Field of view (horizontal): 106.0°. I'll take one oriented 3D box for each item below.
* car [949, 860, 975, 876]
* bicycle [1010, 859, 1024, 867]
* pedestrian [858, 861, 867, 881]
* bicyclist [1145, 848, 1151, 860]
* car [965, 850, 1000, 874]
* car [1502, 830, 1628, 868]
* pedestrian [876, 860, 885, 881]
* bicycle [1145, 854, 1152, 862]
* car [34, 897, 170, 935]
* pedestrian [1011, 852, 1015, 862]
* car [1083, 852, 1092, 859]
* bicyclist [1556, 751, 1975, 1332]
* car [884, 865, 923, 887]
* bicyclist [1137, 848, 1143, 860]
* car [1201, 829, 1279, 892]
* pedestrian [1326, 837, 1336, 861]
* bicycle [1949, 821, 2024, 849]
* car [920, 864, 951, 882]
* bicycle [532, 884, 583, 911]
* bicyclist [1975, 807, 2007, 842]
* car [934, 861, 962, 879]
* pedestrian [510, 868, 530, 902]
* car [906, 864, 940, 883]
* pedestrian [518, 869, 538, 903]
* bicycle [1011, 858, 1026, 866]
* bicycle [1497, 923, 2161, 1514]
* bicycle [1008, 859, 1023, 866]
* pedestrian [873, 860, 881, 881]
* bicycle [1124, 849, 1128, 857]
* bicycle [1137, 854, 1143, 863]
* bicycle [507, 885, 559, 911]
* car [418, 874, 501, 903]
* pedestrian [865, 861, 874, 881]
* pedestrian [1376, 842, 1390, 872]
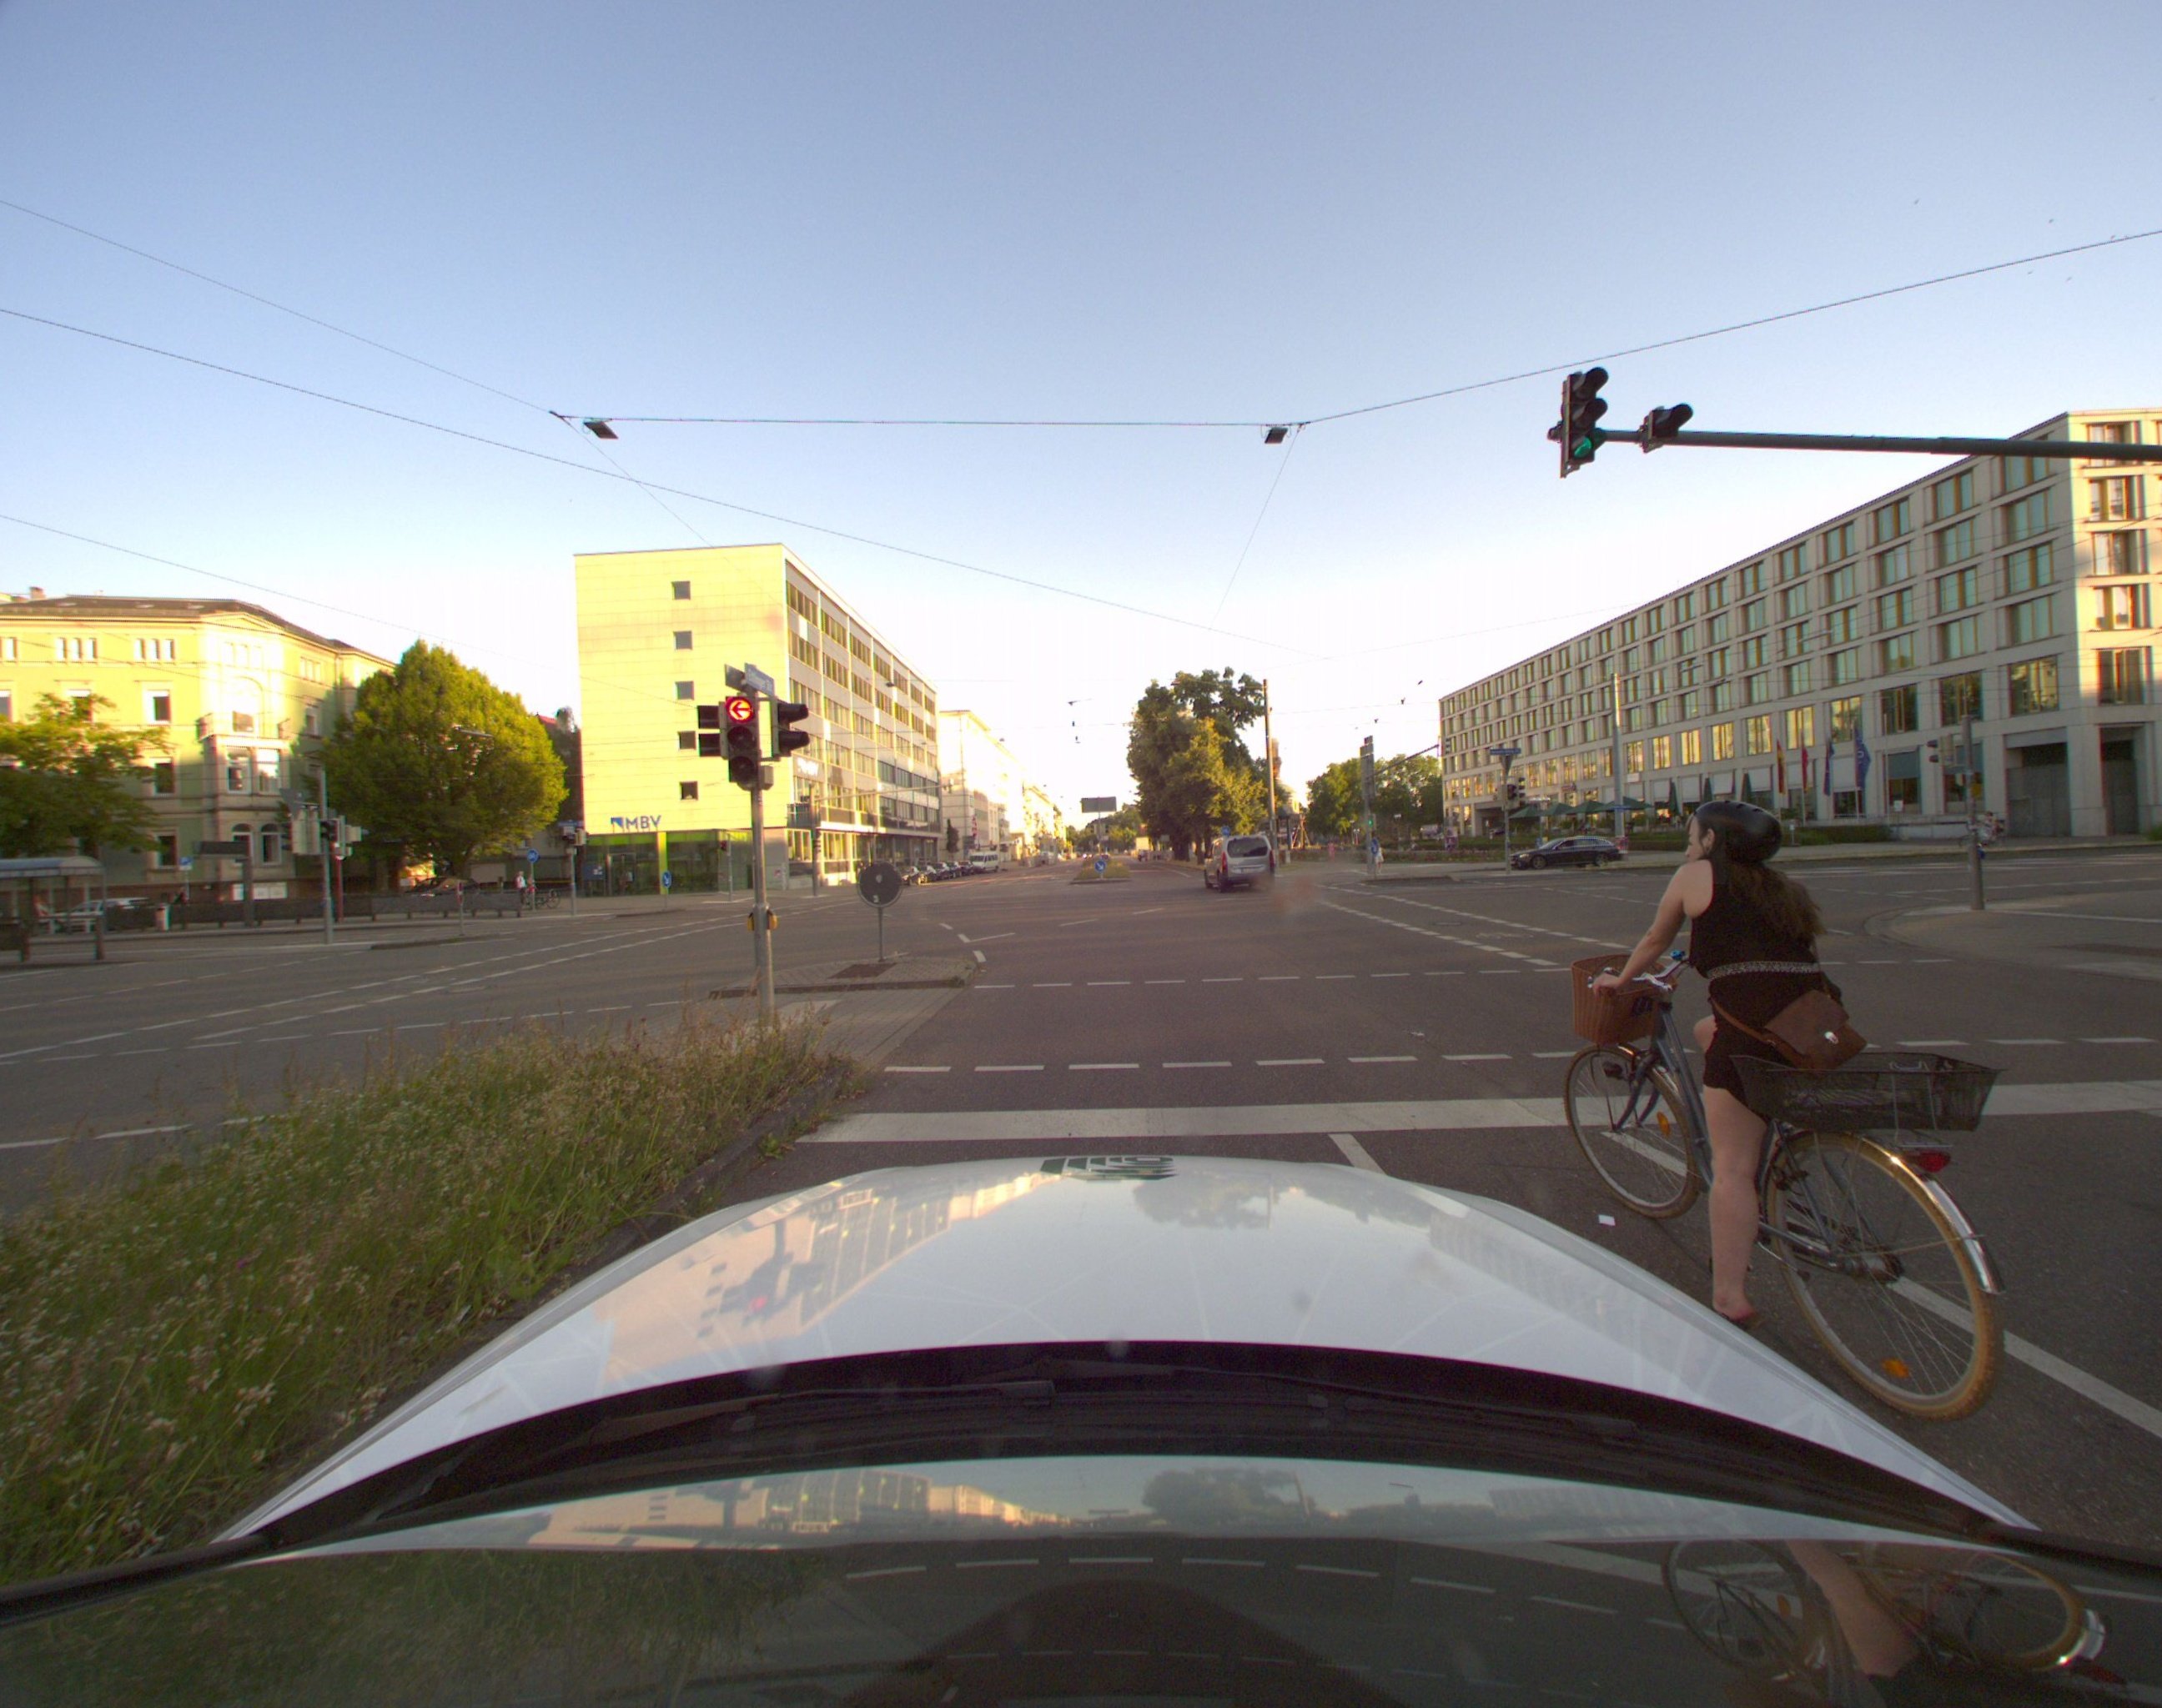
[{"bbox_3d":[-12.389,1.441,85.250,1.913,1.568,4.002,-3,0,2],"label":"car"},{"bbox_3d":[-10.008,1.350,127.498,2.198,1.112,0.689,-3,0,0],"label":"bicycle"},{"bbox_3d":[-18.400,1.447,68.514,0.549,1.679,0.500,-3,0,1],"label":"pedestrian"},{"bbox_3d":[9.305,0.020,112.552,0.744,1.691,0.799,-3,0,1],"label":"bicyclist"},{"bbox_3d":[-11.063,0.861,91.684,1.988,2.478,5.888,-3,0,12],"label":"car"},{"bbox_3d":[23.201,-0.232,39.214,4.803,1.515,2.002,-3,0,4],"label":"car"},{"bbox_3d":[-16.879,1.392,68.672,0.549,1.679,0.500,-3,0,1],"label":"pedestrian"},{"bbox_3d":[9.338,0.536,112.700,0.744,1.144,2.506,-3,0,2],"label":"bicycle"},{"bbox_3d":[-45.189,2.842,37.686,3.588,1.372,1.833,-3,0,-15],"label":"car"},{"bbox_3d":[-13.807,0.667,165.391,0.677,2.013,0.545,-3,0,1],"label":"pedestrian"},{"bbox_3d":[1.619,0.428,188.838,1.855,1.519,4.003,-3,0,3],"label":"car"},{"bbox_3d":[2.226,0.531,2.805,0.597,1.636,0.999,-1,0,2],"label":"bicyclist"},{"bbox_3d":[-13.545,1.657,62.450,1.913,1.464,4.105,-3,0,2],"label":"car"},{"bbox_3d":[8.140,-0.017,112.308,0.744,1.663,0.873,-3,0,1],"label":"bicyclist"},{"bbox_3d":[5.349,0.205,27.974,1.757,1.888,4.499,-3,0,0],"label":"car"},{"bbox_3d":[17.427,-0.322,56.781,0.458,1.656,0.567,-3,0,1],"label":"pedestrian"},{"bbox_3d":[41.131,-0.866,37.014,2.762,1.106,0.602,-3,0,-1],"label":"bicycle"},{"bbox_3d":[-13.109,1.679,73.725,1.913,1.464,4.002,-3,0,2],"label":"car"},{"bbox_3d":[-25.576,2.110,39.834,0.832,1.112,2.216,-3,0,6],"label":"bicycle"},{"bbox_3d":[41.356,-1.337,37.013,0.705,1.537,0.577,-3,0,-1],"label":"bicyclist"},{"bbox_3d":[-12.857,1.569,79.027,1.913,1.568,4.002,-3,0,2],"label":"car"},{"bbox_3d":[-30.534,1.701,44.332,0.641,1.790,0.720,-3,0,-12],"label":"pedestrian"},{"bbox_3d":[-13.316,1.642,68.912,1.913,1.464,4.002,-3,0,2],"label":"car"},{"bbox_3d":[-30.661,1.759,45.149,0.641,1.790,0.720,-3,0,-12],"label":"pedestrian"},{"bbox_3d":[-9.965,1.293,129.335,2.198,1.236,0.839,-3,0,0],"label":"bicycle"},{"bbox_3d":[2.229,0.896,2.809,0.609,1.132,2.005,-1,0,2],"label":"bicycle"},{"bbox_3d":[-10.089,1.314,125.980,2.198,1.112,0.619,-3,0,0],"label":"bicycle"},{"bbox_3d":[-17.357,1.405,69.235,0.498,1.679,0.500,-3,0,1],"label":"pedestrian"},{"bbox_3d":[11.562,-0.237,211.188,0.892,2.013,4.002,-3,0,2],"label":"bicycle"},{"bbox_3d":[8.182,0.595,112.603,0.744,1.144,2.506,-3,0,2],"label":"bicycle"},{"bbox_3d":[-26.847,2.128,39.940,0.832,1.112,2.216,-3,0,6],"label":"bicycle"},{"bbox_3d":[-35.166,1.919,46.188,1.830,1.372,3.594,-3,0,0],"label":"car"},{"bbox_3d":[-17.983,1.451,69.299,0.549,1.679,0.500,-3,0,1],"label":"pedestrian"},{"bbox_3d":[15.967,0.151,43.056,0.489,1.540,0.408,-3,0,1],"label":"pedestrian"}]
